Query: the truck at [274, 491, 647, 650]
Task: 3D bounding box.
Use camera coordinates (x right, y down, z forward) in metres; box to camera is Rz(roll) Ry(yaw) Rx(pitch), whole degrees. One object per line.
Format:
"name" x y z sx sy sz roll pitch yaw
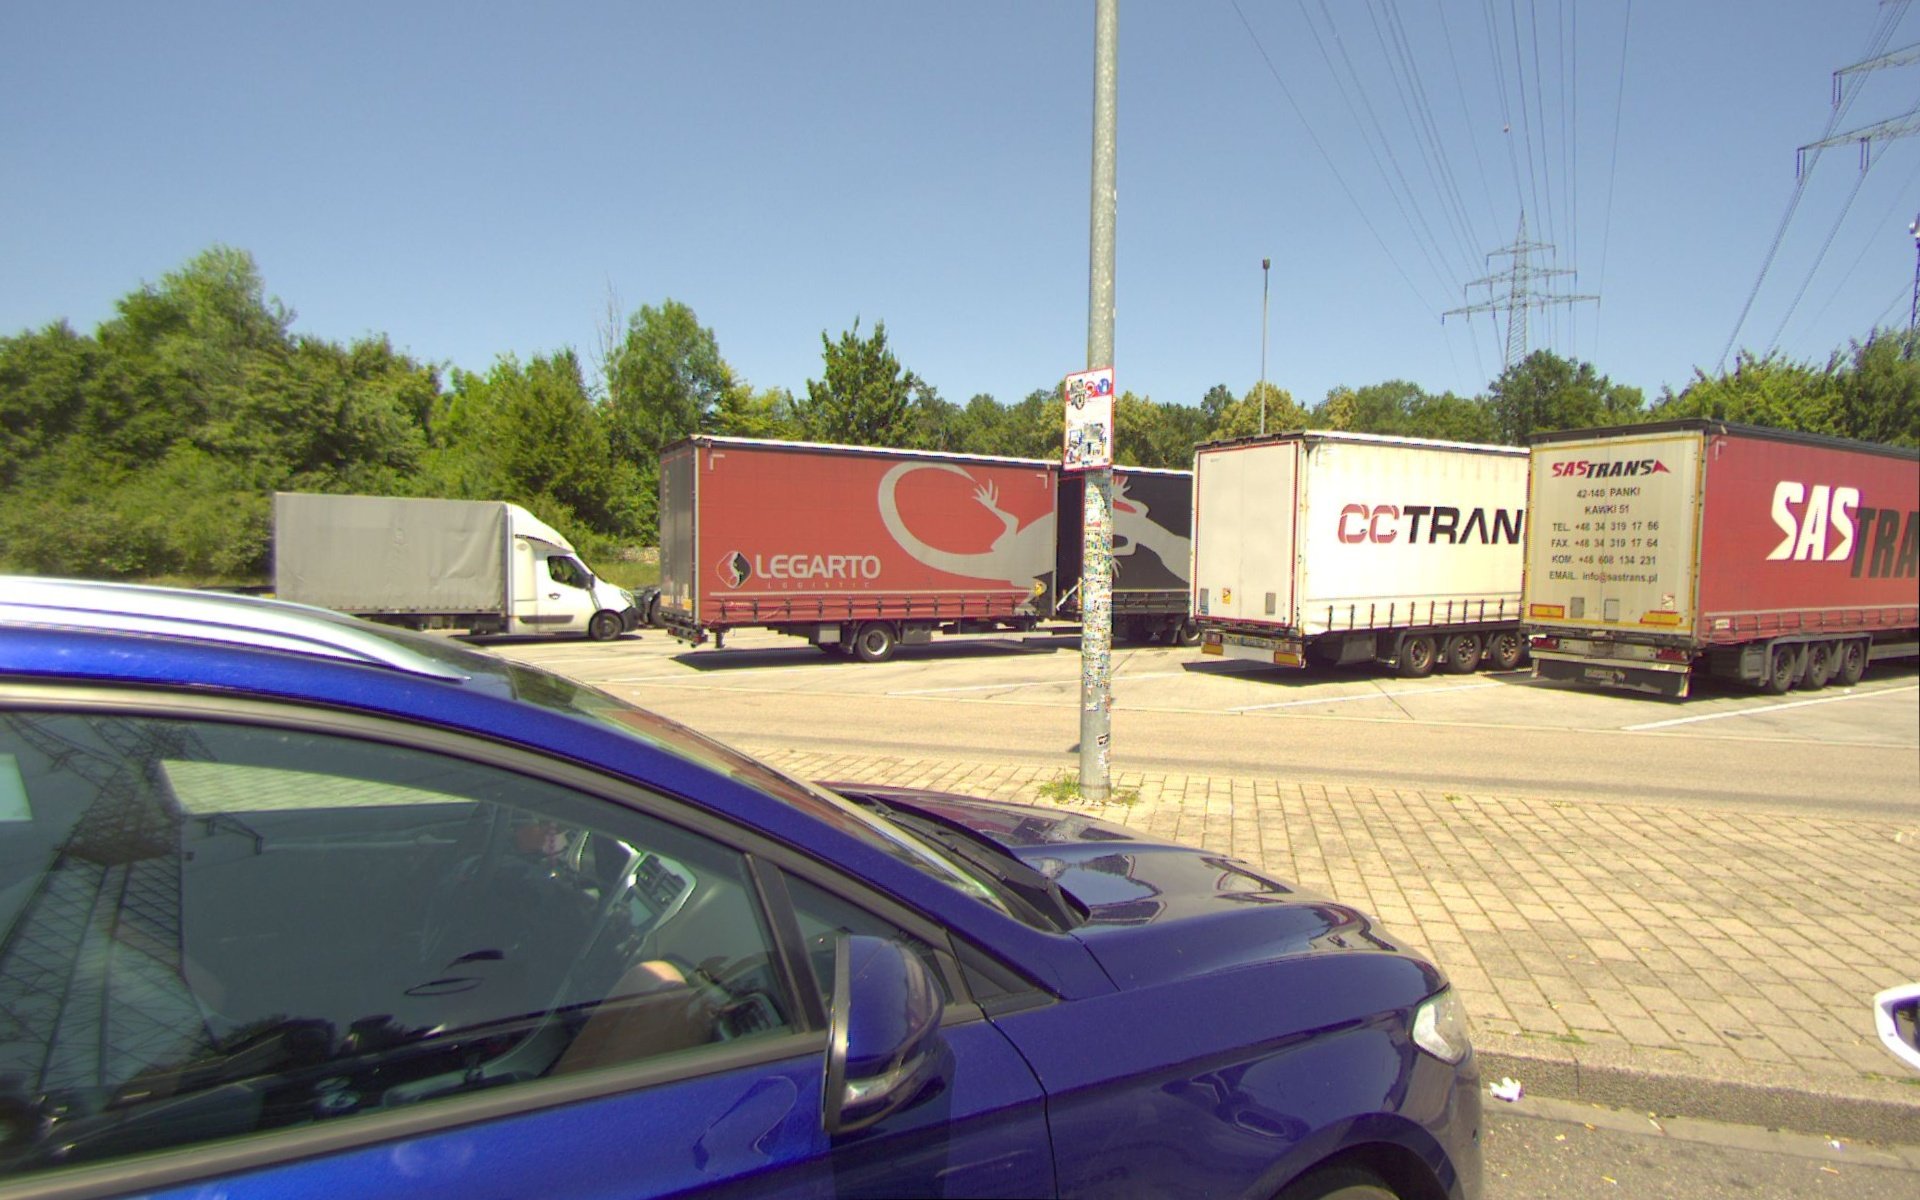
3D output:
"truck" -11.109 -0.607 22.907 7.265 3.170 2.352 0 1 -30

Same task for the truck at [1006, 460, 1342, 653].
"truck" 5.406 -0.912 24.581 8.534 4.073 2.624 0 1 -30

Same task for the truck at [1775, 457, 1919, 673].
"truck" 20.824 -0.675 21.771 6.749 4.136 2.729 0 1 -31

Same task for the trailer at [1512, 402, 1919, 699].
"trailer" 15.311 -0.671 18.463 13.129 4.112 2.736 0 1 -31

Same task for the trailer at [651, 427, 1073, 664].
"trailer" -1.785 -0.919 20.309 8.158 4.027 2.651 0 1 -31

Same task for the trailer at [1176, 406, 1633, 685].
"trailer" 8.717 -0.831 19.106 9.614 4.321 2.733 0 1 -29

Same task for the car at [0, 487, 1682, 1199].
"car" -1.003 0.654 1.463 4.419 1.485 1.765 0 1 -32

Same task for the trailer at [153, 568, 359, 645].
"trailer" -16.500 0.145 23.775 3.856 1.684 1.464 0 1 -30
